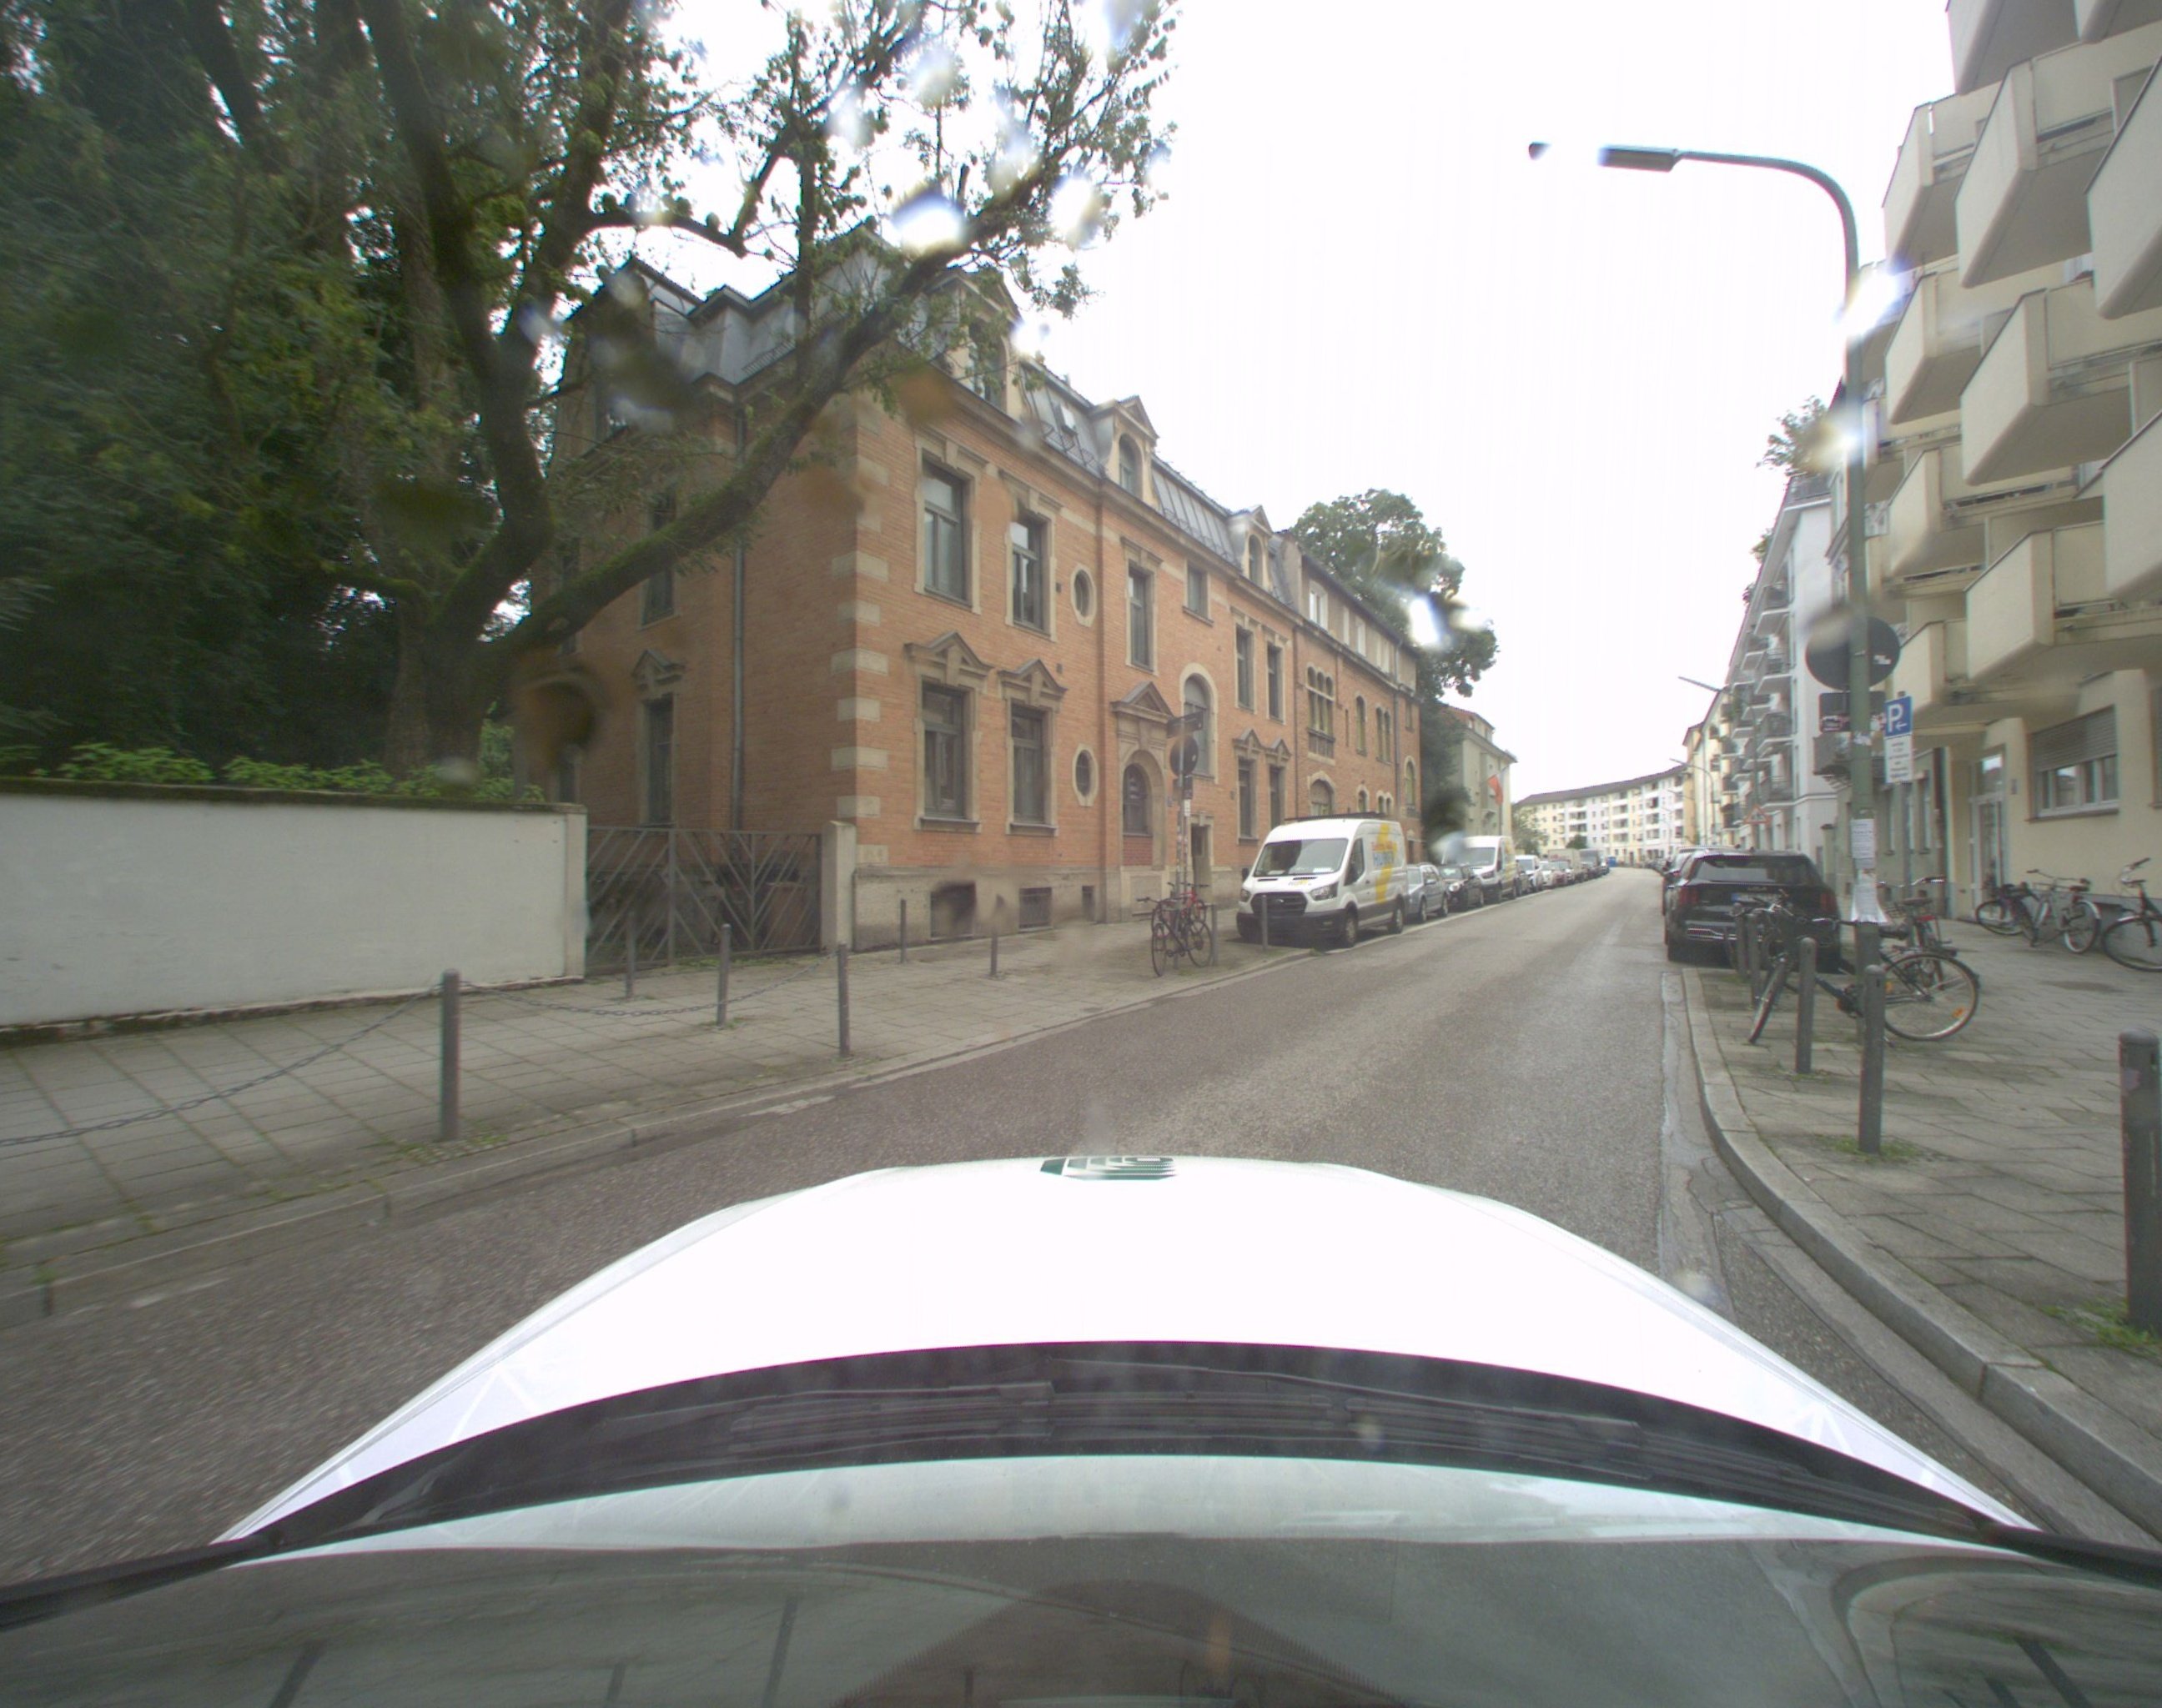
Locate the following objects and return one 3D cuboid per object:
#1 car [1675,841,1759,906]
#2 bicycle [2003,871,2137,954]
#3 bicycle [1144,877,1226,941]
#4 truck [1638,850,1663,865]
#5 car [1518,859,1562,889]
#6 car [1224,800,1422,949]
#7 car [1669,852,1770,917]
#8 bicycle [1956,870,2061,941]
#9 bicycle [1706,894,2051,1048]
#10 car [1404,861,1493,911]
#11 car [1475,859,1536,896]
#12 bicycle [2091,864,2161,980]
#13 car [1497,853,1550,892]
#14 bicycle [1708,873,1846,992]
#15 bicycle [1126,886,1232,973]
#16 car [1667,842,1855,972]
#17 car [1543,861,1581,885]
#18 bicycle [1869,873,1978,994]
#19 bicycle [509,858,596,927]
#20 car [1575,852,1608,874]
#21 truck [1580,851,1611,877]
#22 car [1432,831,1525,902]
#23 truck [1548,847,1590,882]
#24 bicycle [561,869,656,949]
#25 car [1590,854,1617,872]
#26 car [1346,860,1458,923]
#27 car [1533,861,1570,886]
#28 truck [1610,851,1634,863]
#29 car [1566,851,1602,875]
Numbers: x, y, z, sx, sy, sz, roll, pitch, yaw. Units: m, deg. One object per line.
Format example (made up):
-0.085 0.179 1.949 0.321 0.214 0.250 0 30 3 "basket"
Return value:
20.846 0.630 26.849 1.851 1.968 4.847 -2 -2 35 "car"
13.789 0.773 11.418 0.574 1.054 1.849 -2 -2 31 "bicycle"
1.936 0.975 14.967 0.574 1.054 1.906 -1 -1 40 "bicycle"
93.613 0.549 133.895 2.206 2.300 5.318 -2 -1 22 "truck"
24.680 1.051 43.749 1.828 1.540 4.025 -2 -2 32 "car"
5.036 0.404 16.315 1.973 2.468 5.506 -4 -3 36 "car"
17.112 0.784 22.031 1.841 1.551 4.783 -2 -2 35 "car"
14.906 0.790 13.140 0.574 1.054 1.773 -2 -2 31 "bicycle"
6.093 0.867 6.348 1.744 1.066 0.779 -1 -2 13 "bicycle"
11.508 0.948 25.365 1.681 1.432 3.854 -3 -2 37 "car"
17.865 0.979 34.180 1.727 1.445 4.025 -2 -2 35 "car"
11.824 0.717 8.695 0.681 1.206 1.773 -2 -2 30 "bicycle"
20.854 0.865 38.300 1.803 1.711 4.025 -2 -2 34 "car"
7.668 0.805 9.069 0.574 1.154 1.974 -2 -2 23 "bicycle"
1.386 0.996 11.242 0.574 1.054 1.773 -2 -2 40 "bicycle"
10.341 0.712 12.714 1.832 1.639 4.579 -2 -2 35 "car"
31.081 1.212 52.584 1.778 1.469 3.891 -2 -2 34 "car"
9.120 0.800 8.879 0.574 1.154 1.975 -2 -2 40 "bicycle"
-9.635 0.685 14.802 2.272 1.180 0.539 -2 -2 36 "bicycle"
43.605 0.757 69.488 1.974 1.762 4.409 -2 -2 36 "car"
47.395 0.905 74.928 1.974 2.319 5.444 -2 -2 36 "truck"
14.662 0.462 29.844 2.116 2.349 5.404 -2 -2 36 "car"
34.739 0.741 57.918 1.974 2.319 5.444 -2 -2 36 "truck"
-7.740 0.870 13.294 2.056 1.219 0.539 -2 -2 35 "bicycle"
54.216 0.910 84.457 1.974 1.762 4.409 -2 -2 36 "car"
8.413 0.930 21.140 1.672 1.454 4.022 -4 -3 36 "car"
27.543 1.143 47.615 1.734 1.368 4.025 -2 -2 32 "car"
102.450 0.580 154.326 2.599 2.300 5.468 -1 0 21 "truck"
39.652 0.706 64.163 1.974 1.762 4.409 -2 -2 36 "car"
